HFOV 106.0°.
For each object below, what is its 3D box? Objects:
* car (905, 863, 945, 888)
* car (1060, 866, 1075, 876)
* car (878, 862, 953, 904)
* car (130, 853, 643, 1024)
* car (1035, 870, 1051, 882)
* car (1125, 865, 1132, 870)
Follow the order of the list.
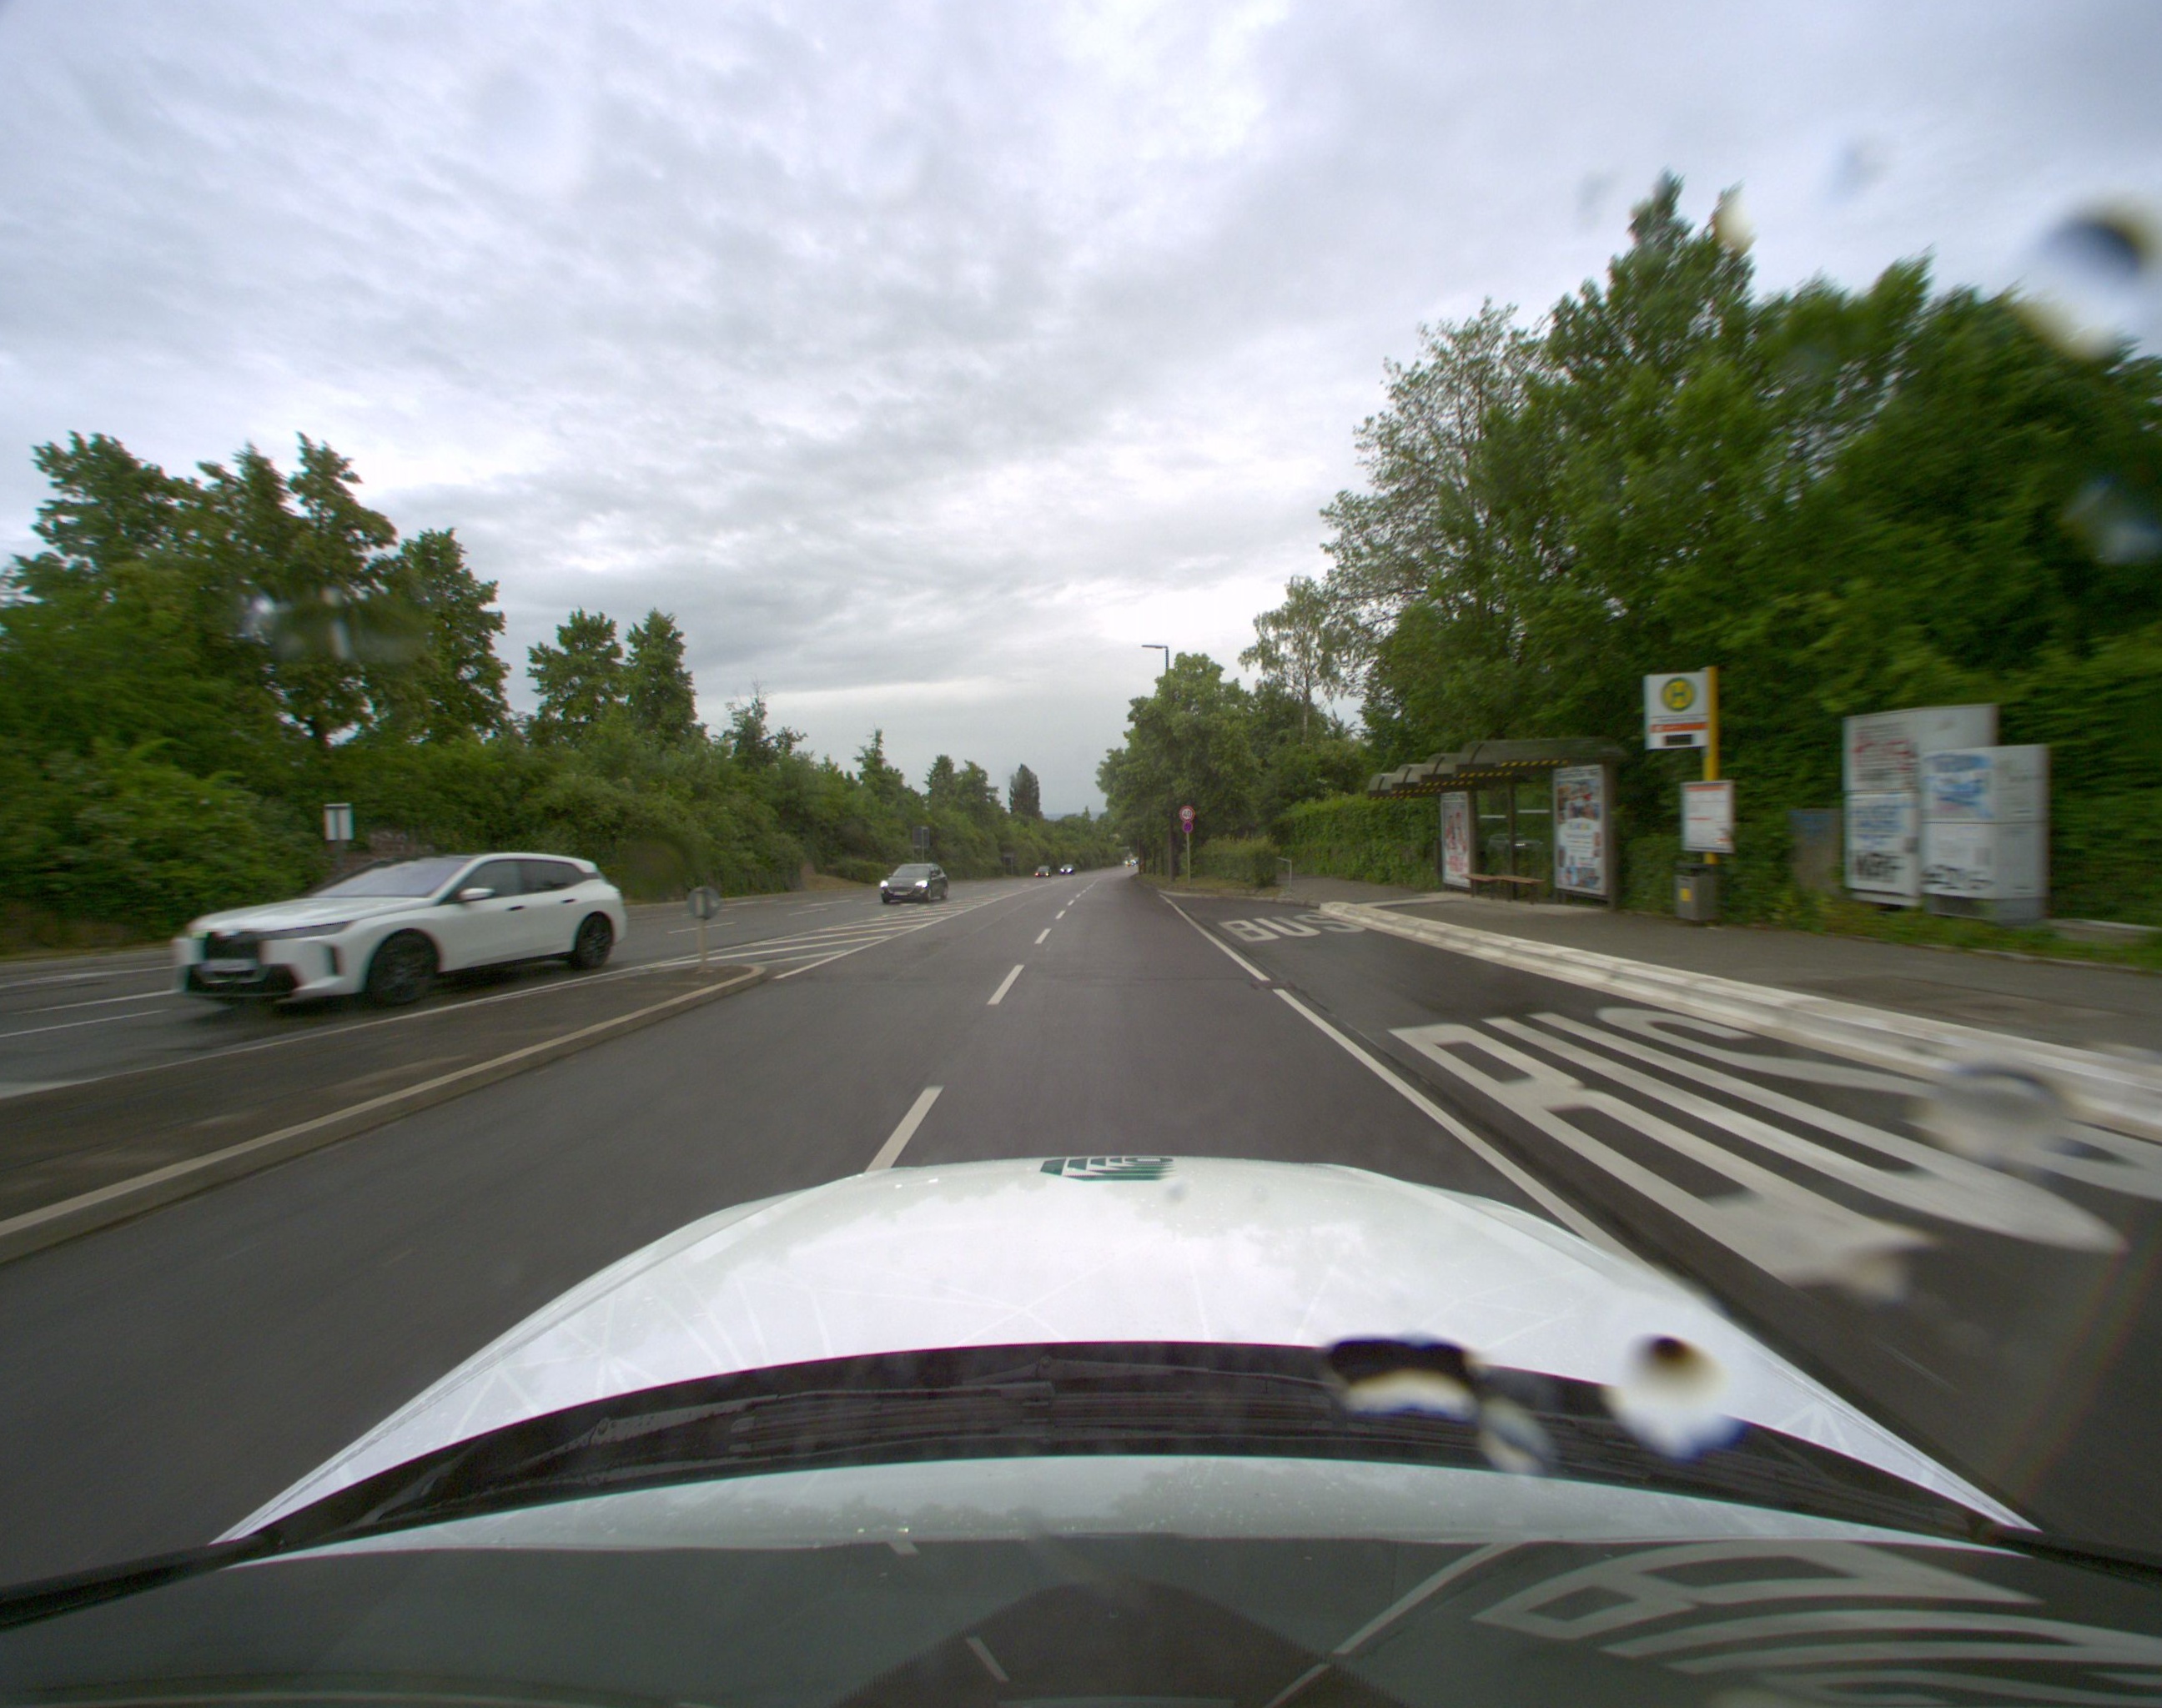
[{"bbox_3d":[-10.648,1.430,55.872,1.716,1.591,4.004,-2,-1,4],"label":"car"},{"bbox_3d":[-2.121,2.616,127.495,1.855,1.589,3.897,1,-1,5],"label":"car"},{"bbox_3d":[-6.403,1.075,32.048,1.771,1.472,4.648,-1,-1,3],"label":"car"},{"bbox_3d":[-8.103,0.825,10.390,1.935,1.635,5.012,-1,0,5],"label":"car"},{"bbox_3d":[-4.931,2.876,106.171,1.718,1.565,3.895,1,-1,2],"label":"car"},{"bbox_3d":[14.305,3.971,244.218,1.855,1.464,3.897,1,-1,5],"label":"car"}]
